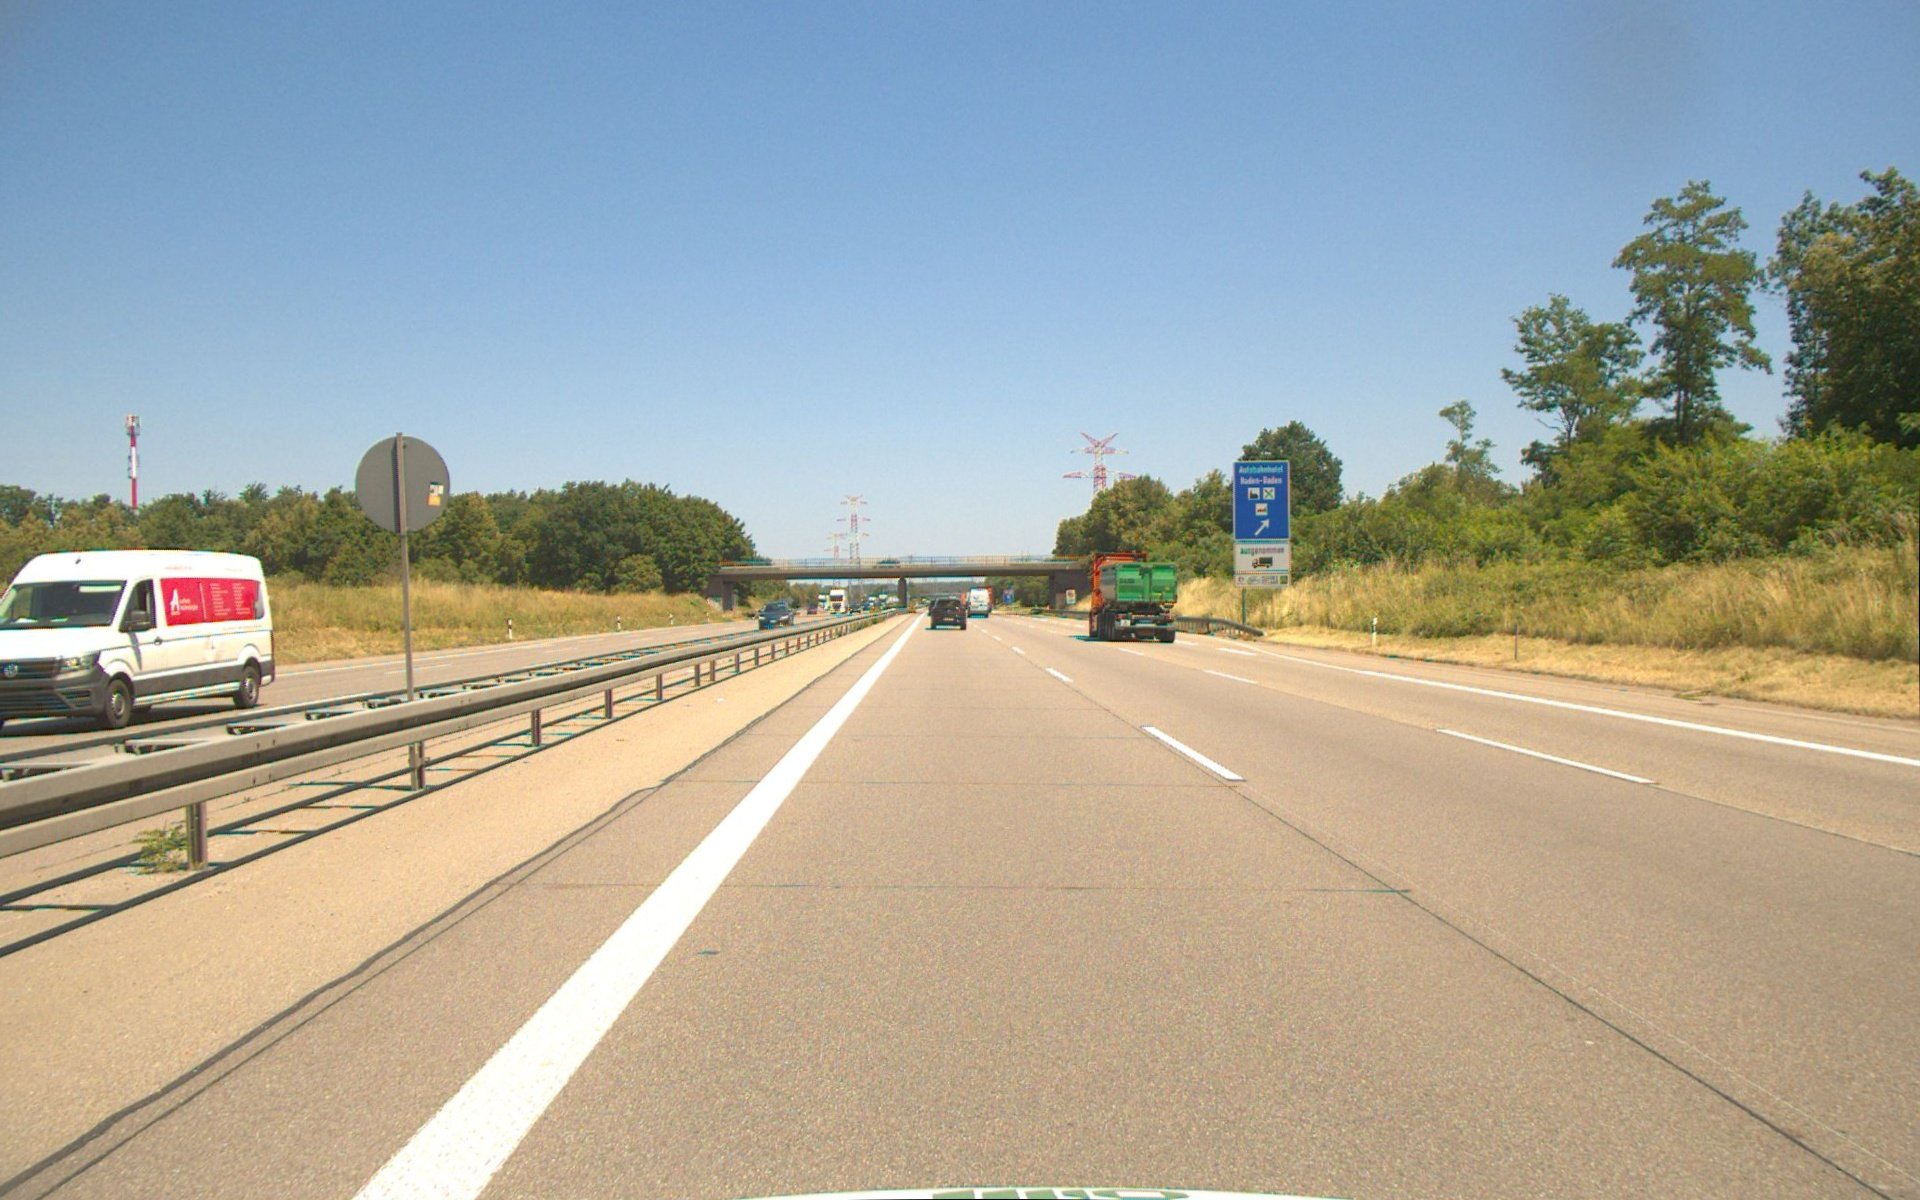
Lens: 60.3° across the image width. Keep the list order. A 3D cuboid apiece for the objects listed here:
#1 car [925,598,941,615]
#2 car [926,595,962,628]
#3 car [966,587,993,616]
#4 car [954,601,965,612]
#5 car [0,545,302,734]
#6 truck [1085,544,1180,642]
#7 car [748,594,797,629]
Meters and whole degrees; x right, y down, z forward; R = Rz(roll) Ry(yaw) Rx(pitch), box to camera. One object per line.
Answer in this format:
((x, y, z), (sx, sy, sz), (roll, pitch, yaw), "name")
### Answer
((-2.965, 0.699, 180.519), (1.758, 1.780, 3.999), (1, 0, -1), "car")
((-0.893, 0.635, 91.567), (1.953, 1.780, 3.999), (1, 0, -1), "car")
((1.966, 0.131, 166.620), (2.568, 2.807, 6.095), (1, 0, -1), "car")
((-0.099, 1.001, 255.981), (1.711, 1.662, 4.003), (1, 0, -1), "car")
((-12.878, 0.549, 25.901), (2.316, 2.491, 7.131), (-2, 0, -1), "car")
((7.348, -0.271, 72.084), (2.626, 3.864, 12.476), (1, 0, -1), "truck")
((-11.168, 0.667, 98.900), (2.316, 1.928, 5.223), (-3, 0, -1), "car")
